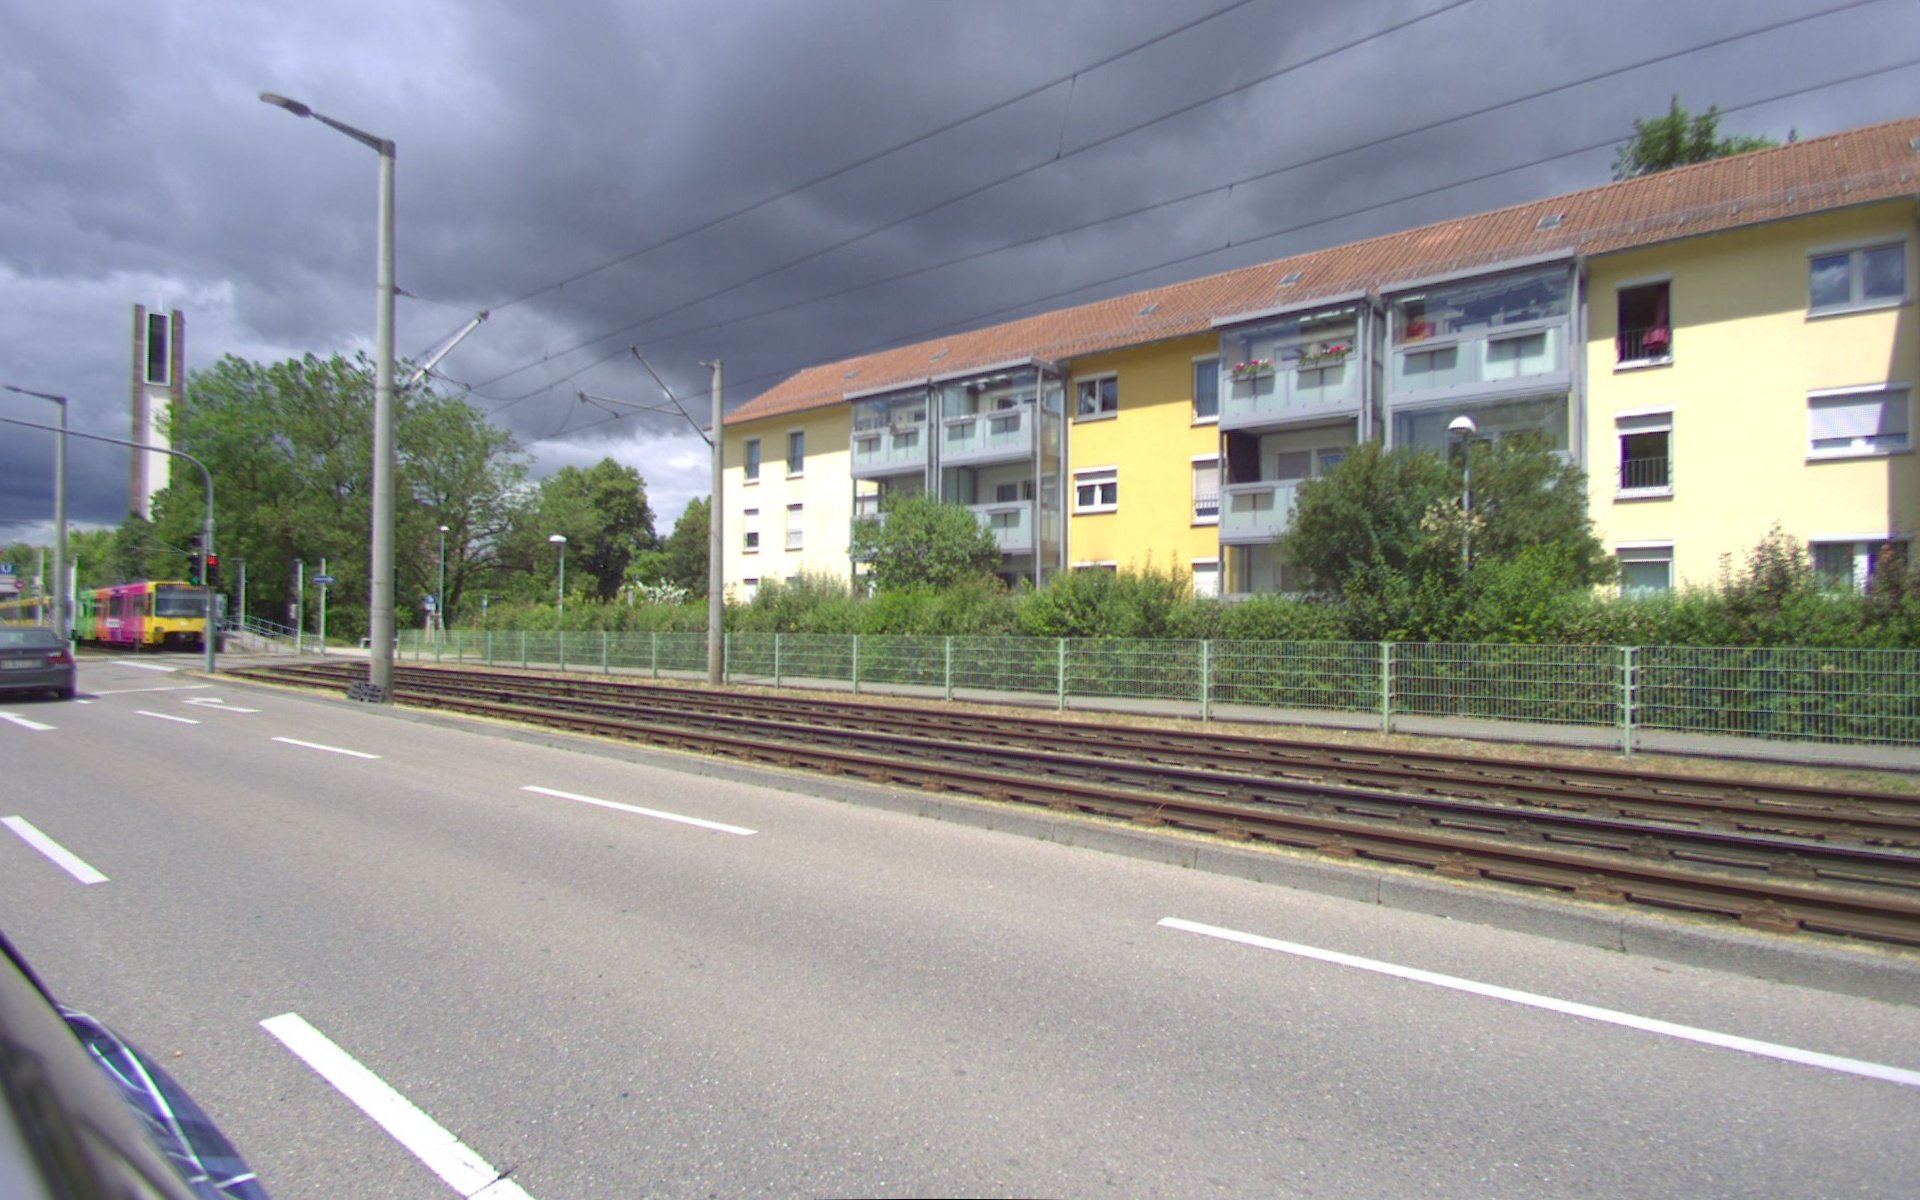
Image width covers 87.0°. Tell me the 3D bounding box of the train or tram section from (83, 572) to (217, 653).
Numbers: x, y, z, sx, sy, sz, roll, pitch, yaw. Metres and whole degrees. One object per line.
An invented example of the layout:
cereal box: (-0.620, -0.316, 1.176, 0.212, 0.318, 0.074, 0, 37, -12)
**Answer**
train or tram section: (-45.533, 0.715, 56.473, 18.534, 3.892, 2.948, -1, 0, 42)

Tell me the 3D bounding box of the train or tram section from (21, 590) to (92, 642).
train or tram section: (-71.826, 1.266, 80.358, 12.198, 3.892, 2.948, -1, 0, 42)

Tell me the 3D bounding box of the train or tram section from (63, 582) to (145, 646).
train or tram section: (-55.513, 0.889, 65.536, 8.376, 3.892, 2.949, -1, 0, 42)

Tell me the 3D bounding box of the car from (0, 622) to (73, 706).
car: (-18.270, 1.170, 19.160, 4.163, 1.443, 1.612, -1, -1, 40)
